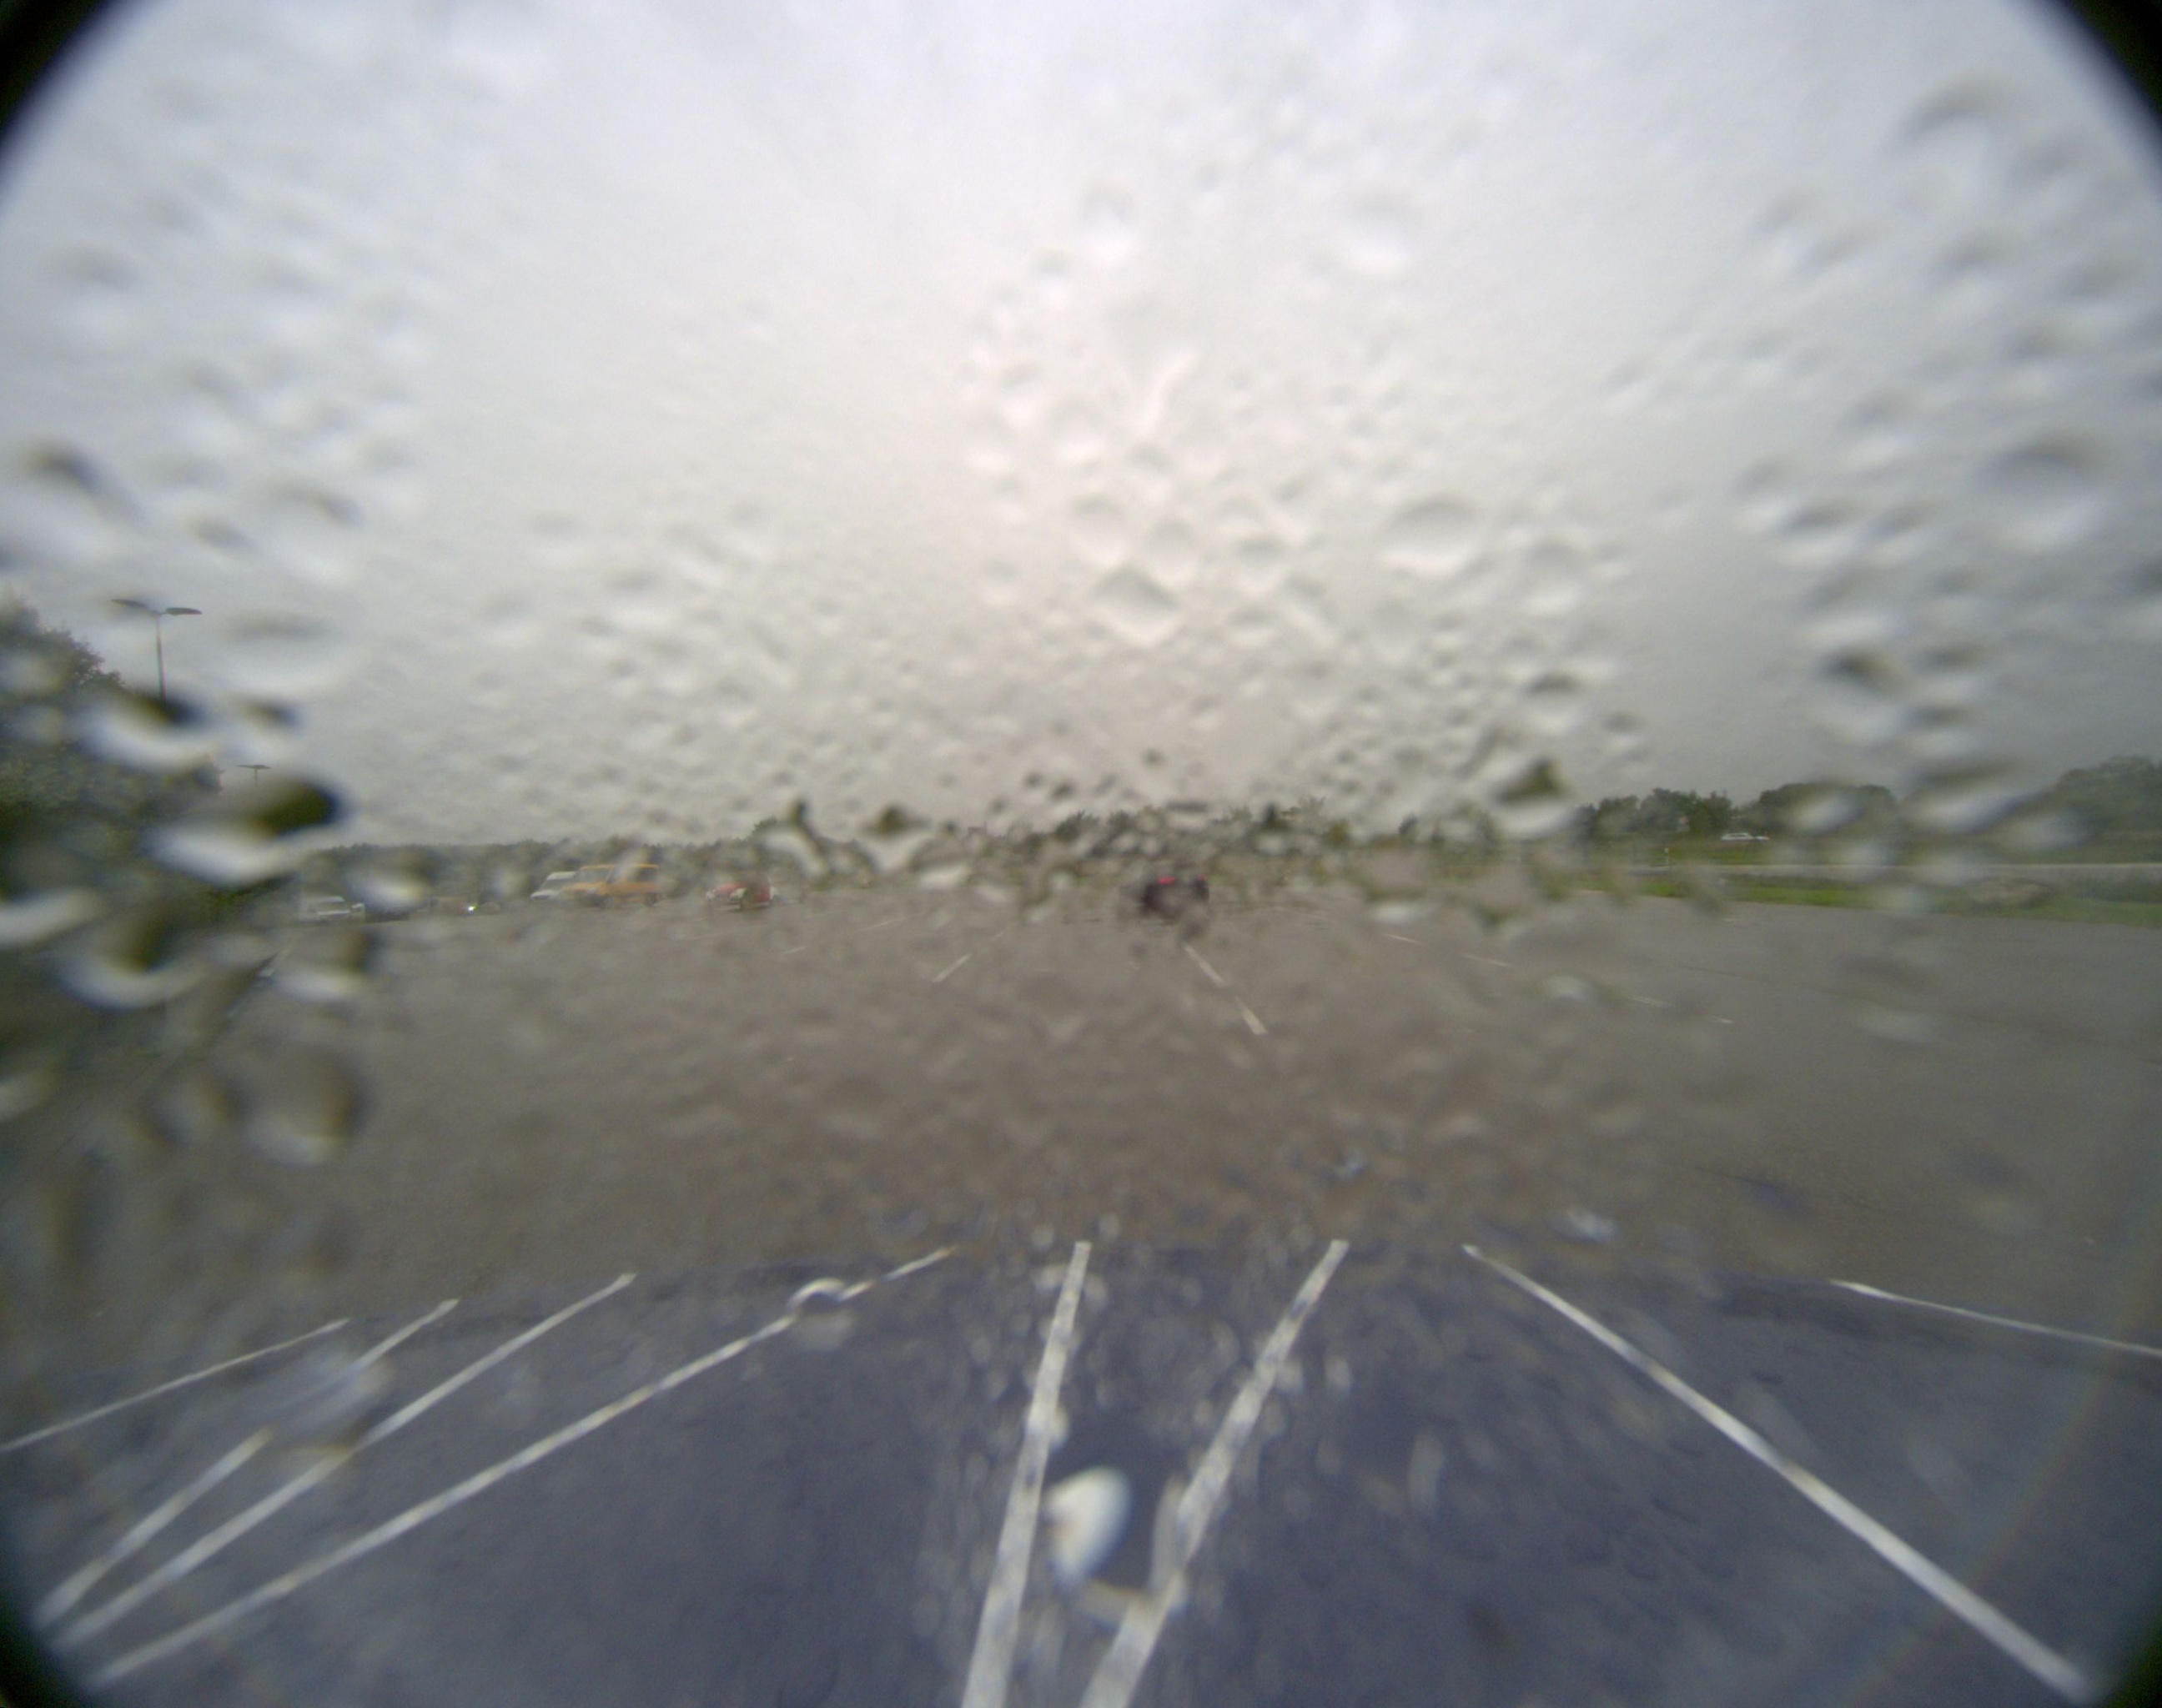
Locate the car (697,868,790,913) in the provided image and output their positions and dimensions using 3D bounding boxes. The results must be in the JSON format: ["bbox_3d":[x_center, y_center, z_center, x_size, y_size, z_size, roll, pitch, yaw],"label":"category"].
[{"bbox_3d":[-13.366,1.398,30.375,1.548,1.546,4.058,-2,0,5],"label":"car"}]

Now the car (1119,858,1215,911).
[{"bbox_3d":[2.591,0.886,23.834,1.780,1.425,4.074,-2,0,-12],"label":"car"}]

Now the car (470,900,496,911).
[{"bbox_3d":[-63.427,5.414,80.583,3.560,0.994,1.503,-2,0,42],"label":"car"}]

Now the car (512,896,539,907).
[{"bbox_3d":[-61.796,5.277,84.509,3.757,0.994,1.713,-2,0,42],"label":"car"}]

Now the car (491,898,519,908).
[{"bbox_3d":[-62.993,5.339,83.106,3.757,0.994,1.713,-2,0,42],"label":"car"}]

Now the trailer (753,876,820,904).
[{"bbox_3d":[-13.143,1.596,34.037,1.587,1.061,3.031,-3,-1,5],"label":"trailer"}]

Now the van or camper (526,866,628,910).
[{"bbox_3d":[-34.146,2.229,51.851,1.998,2.699,7.069,0,0,2],"label":"van or camper"}]

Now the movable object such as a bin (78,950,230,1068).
[{"bbox_3d":[-8.375,1.380,6.890,0.630,0.915,0.556,-2,0,-11],"label":"movable object such as a bin"}]

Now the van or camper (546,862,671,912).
[{"bbox_3d":[-24.066,1.585,39.107,2.133,2.233,6.418,-2,0,2],"label":"van or camper"}]

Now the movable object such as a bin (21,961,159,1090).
[{"bbox_3d":[-7.975,1.361,6.129,0.495,0.915,0.416,-2,1,-11],"label":"movable object such as a bin"}]
